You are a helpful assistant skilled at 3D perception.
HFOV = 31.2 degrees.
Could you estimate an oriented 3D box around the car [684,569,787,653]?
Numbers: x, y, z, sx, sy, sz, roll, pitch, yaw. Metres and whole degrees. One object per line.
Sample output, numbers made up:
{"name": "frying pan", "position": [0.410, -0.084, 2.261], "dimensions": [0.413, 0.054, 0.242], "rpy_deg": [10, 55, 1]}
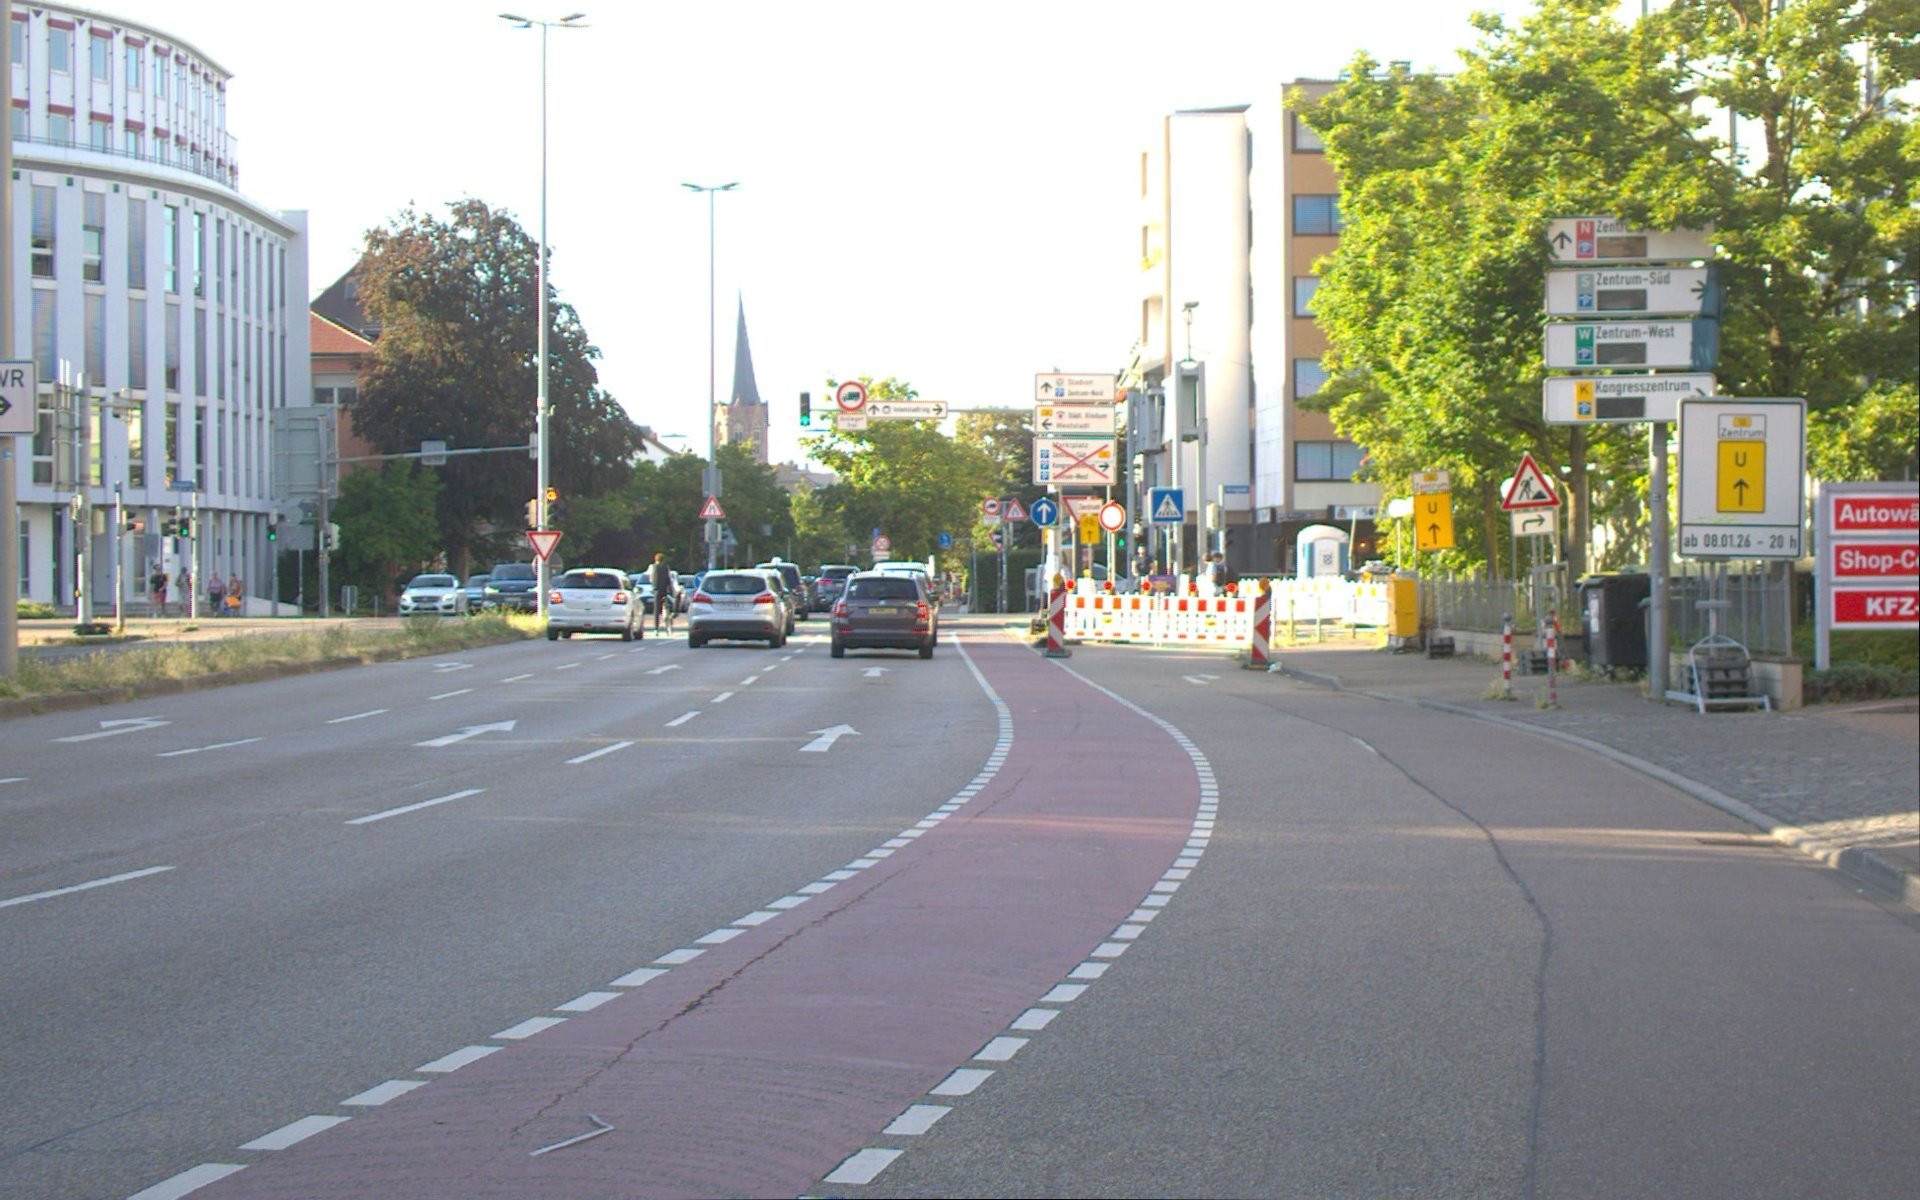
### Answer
{"name": "car", "position": [-4.285, 0.191, 66.123], "dimensions": [1.748, 1.559, 4.050], "rpy_deg": [0, 1, -1]}

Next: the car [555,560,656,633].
{"name": "car", "position": [-7.345, -0.095, 71.540], "dimensions": [1.685, 1.452, 4.000], "rpy_deg": [0, 1, 0]}

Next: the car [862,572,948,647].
{"name": "car", "position": [-1.183, 0.186, 74.966], "dimensions": [1.728, 1.573, 3.723], "rpy_deg": [0, 1, 1]}

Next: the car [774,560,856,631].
{"name": "car", "position": [-3.281, -0.124, 78.585], "dimensions": [1.748, 1.559, 4.050], "rpy_deg": [0, 1, -1]}

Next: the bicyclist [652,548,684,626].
{"name": "bicyclist", "position": [-6.482, -0.287, 76.269], "dimensions": [0.690, 1.722, 0.988], "rpy_deg": [0, 0, -4]}

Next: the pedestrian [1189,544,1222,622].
{"name": "pedestrian", "position": [5.720, -0.395, 80.051], "dimensions": [0.741, 1.793, 0.715], "rpy_deg": [0, 0, 2]}

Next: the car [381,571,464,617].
{"name": "car", "position": [-17.432, -0.212, 111.745], "dimensions": [1.993, 1.408, 4.443], "rpy_deg": [-1, 1, 0]}

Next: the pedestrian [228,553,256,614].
{"name": "pedestrian", "position": [-22.279, -0.516, 106.694], "dimensions": [0.626, 1.862, 1.127], "rpy_deg": [0, 0, -1]}

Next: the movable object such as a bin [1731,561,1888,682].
{"name": "movable object such as a bin", "position": [9.993, 0.243, 40.476], "dimensions": [1.607, 1.405, 0.865], "rpy_deg": [0, 0, -2]}

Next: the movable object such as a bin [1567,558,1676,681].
{"name": "movable object such as a bin", "position": [8.275, 0.257, 43.086], "dimensions": [1.092, 1.503, 1.254], "rpy_deg": [0, -2, -1]}

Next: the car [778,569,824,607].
{"name": "car", "position": [-6.027, -0.476, 130.838], "dimensions": [1.588, 1.422, 3.823], "rpy_deg": [0, 0, 0]}

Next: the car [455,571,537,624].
{"name": "car", "position": [-14.045, -0.099, 104.371], "dimensions": [1.993, 1.573, 4.899], "rpy_deg": [0, 0, -2]}

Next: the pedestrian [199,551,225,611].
{"name": "pedestrian", "position": [-23.218, -0.590, 106.768], "dimensions": [0.660, 1.862, 0.778], "rpy_deg": [0, 0, -3]}

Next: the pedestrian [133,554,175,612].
{"name": "pedestrian", "position": [-27.836, -0.591, 118.695], "dimensions": [1.092, 2.007, 1.035], "rpy_deg": [0, 0, 10]}

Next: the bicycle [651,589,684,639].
{"name": "bicycle", "position": [-6.493, 0.302, 76.477], "dimensions": [0.699, 1.096, 2.258], "rpy_deg": [0, 0, -4]}

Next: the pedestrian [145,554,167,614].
{"name": "pedestrian", "position": [-25.243, -0.499, 107.893], "dimensions": [0.660, 1.852, 0.779], "rpy_deg": [0, 0, -13]}

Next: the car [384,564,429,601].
{"name": "car", "position": [-23.650, -0.758, 146.954], "dimensions": [1.840, 1.566, 4.001], "rpy_deg": [0, 0, -8]}

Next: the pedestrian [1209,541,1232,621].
{"name": "pedestrian", "position": [6.122, -0.453, 80.767], "dimensions": [0.521, 1.862, 0.614], "rpy_deg": [0, 0, 7]}

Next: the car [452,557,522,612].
{"name": "car", "position": [-17.059, -0.553, 124.062], "dimensions": [1.841, 1.810, 3.999], "rpy_deg": [-2, -1, 1]}

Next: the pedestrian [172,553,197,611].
{"name": "pedestrian", "position": [-24.376, -0.563, 108.063], "dimensions": [0.758, 1.836, 0.818], "rpy_deg": [0, 0, -11]}

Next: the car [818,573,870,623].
{"name": "car", "position": [-3.891, -0.069, 115.821], "dimensions": [1.664, 1.652, 4.000], "rpy_deg": [0, 0, 0]}

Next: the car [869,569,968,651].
{"name": "car", "position": [-0.784, 0.216, 66.724], "dimensions": [1.755, 1.485, 3.722], "rpy_deg": [-2, -1, 1]}

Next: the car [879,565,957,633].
{"name": "car", "position": [-1.062, -0.052, 85.032], "dimensions": [1.819, 1.634, 4.000], "rpy_deg": [0, 0, -2]}

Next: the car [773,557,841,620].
{"name": "car", "position": [-4.062, -0.313, 91.525], "dimensions": [1.664, 1.652, 4.000], "rpy_deg": [0, 0, 0]}

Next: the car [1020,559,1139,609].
{"name": "car", "position": [4.501, -0.600, 129.769], "dimensions": [4.363, 1.871, 2.000], "rpy_deg": [0, 0, -2]}

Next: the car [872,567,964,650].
{"name": "car", "position": [-0.845, 0.202, 70.792], "dimensions": [1.728, 1.596, 3.722], "rpy_deg": [-2, -1, 1]}

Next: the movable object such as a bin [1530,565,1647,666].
{"name": "movable object such as a bin", "position": [8.508, 0.200, 46.563], "dimensions": [1.213, 1.339, 1.055], "rpy_deg": [0, 0, -16]}

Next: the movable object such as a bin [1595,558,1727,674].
{"name": "movable object such as a bin", "position": [9.126, 0.200, 44.820], "dimensions": [1.326, 1.480, 1.211], "rpy_deg": [0, 0, -11]}

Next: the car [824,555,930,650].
{"name": "car", "position": [-1.398, 0.021, 58.965], "dimensions": [1.748, 1.559, 4.050], "rpy_deg": [0, 1, -1]}

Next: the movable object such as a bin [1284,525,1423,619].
{"name": "movable object such as a bin", "position": [10.045, -0.724, 87.813], "dimensions": [3.328, 2.375, 1.529], "rpy_deg": [0, 0, -2]}

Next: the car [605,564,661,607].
{"name": "car", "position": [-11.554, -0.526, 121.655], "dimensions": [1.847, 1.456, 4.050], "rpy_deg": [0, 1, -4]}
